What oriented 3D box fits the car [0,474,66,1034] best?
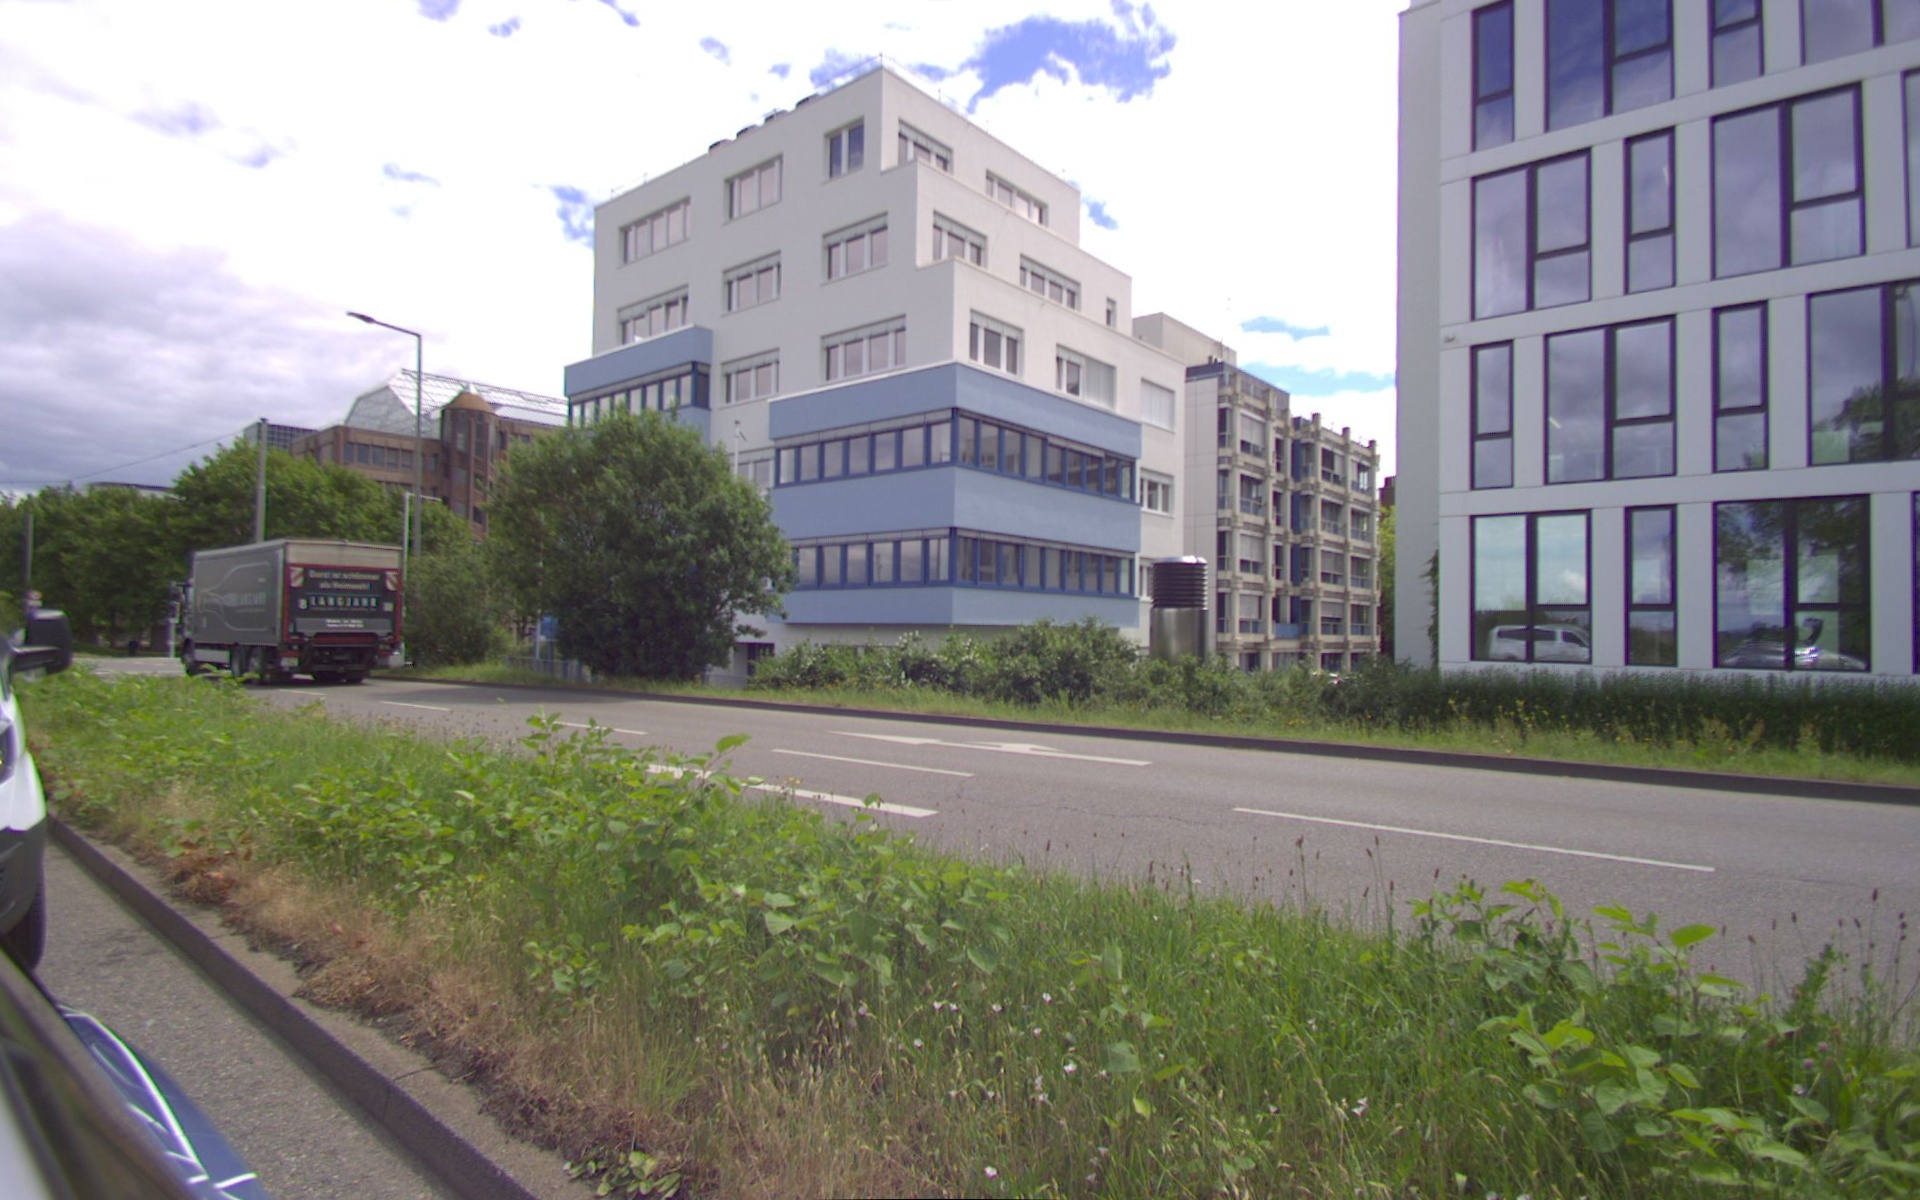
[{"bbox_3d":[-5.788,0.584,4.622,5.052,1.965,1.942,-2,-1,41],"label":"car"}]

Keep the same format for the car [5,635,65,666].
[{"bbox_3d":[-43.527,2.339,47.584,3.775,1.393,1.538,-2,-2,39],"label":"car"}]

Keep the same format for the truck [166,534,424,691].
[{"bbox_3d":[-18.062,0.396,27.134,9.519,3.545,3.135,-1,-3,40],"label":"truck"}]
